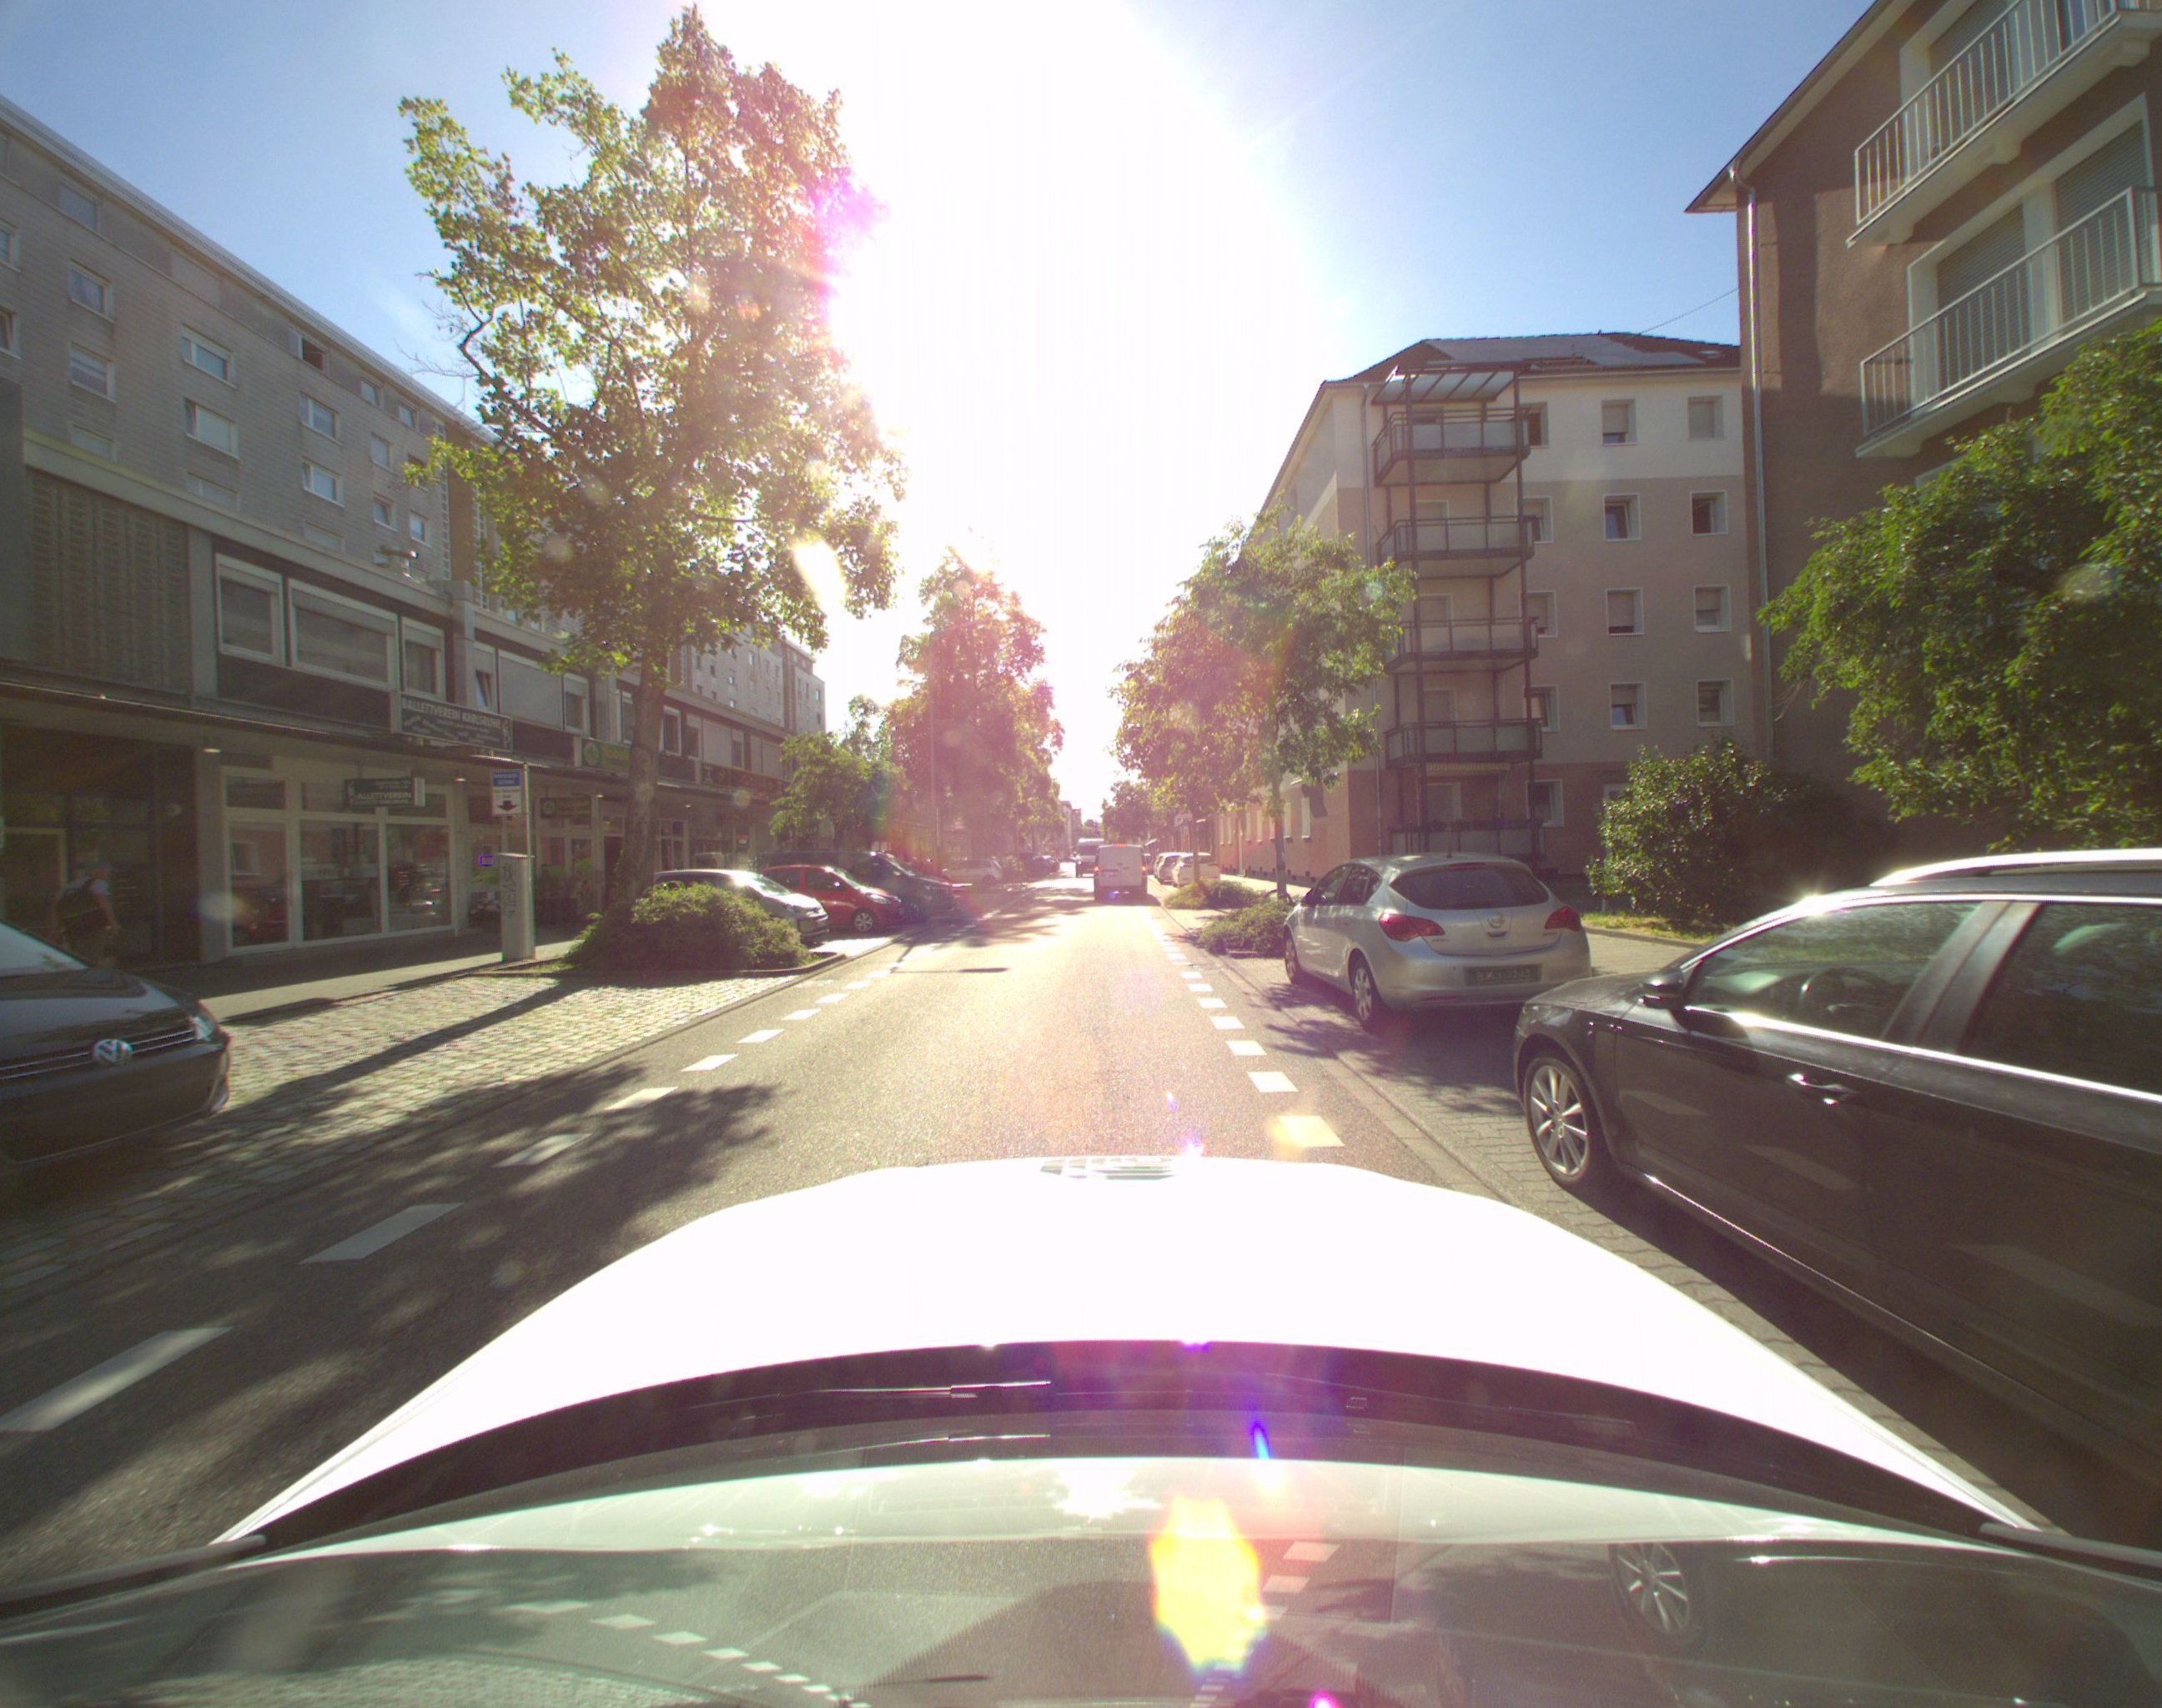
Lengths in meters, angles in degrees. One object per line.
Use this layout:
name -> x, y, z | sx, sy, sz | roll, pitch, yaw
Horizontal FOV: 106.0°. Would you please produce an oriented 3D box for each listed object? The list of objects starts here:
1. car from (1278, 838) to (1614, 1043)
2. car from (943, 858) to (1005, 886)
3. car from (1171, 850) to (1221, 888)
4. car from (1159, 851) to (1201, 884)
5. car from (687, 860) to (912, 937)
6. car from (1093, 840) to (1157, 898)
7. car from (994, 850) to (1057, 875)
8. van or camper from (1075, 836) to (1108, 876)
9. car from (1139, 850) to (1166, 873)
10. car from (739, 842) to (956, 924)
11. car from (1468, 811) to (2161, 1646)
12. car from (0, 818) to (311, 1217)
car -> 3.245, 0.660, 8.143 | 1.733, 1.519, 3.860 | -2, 0, 2
car -> -5.834, 0.975, 44.613 | 3.089, 1.409, 1.661 | -1, 0, 0
car -> 4.889, 0.609, 35.003 | 1.733, 1.519, 3.860 | -2, 0, 2
car -> 4.894, 0.624, 40.647 | 1.733, 1.519, 3.860 | -2, 0, 2
car -> -6.461, 1.000, 19.036 | 4.611, 1.610, 1.661 | -1, 0, 0
car -> 1.551, 0.505, 30.380 | 2.093, 1.907, 5.425 | -2, 0, 1
car -> -4.685, 0.720, 69.476 | 5.195, 1.981, 1.661 | -1, 0, 0
van or camper -> 0.767, 0.136, 54.612 | 1.986, 2.475, 5.822 | -2, 0, 2
car -> 5.092, 0.533, 58.296 | 1.733, 1.519, 3.860 | -2, 0, 2
car -> -6.074, 0.734, 21.587 | 5.195, 1.981, 1.661 | -1, 0, 0
car -> 2.884, 0.664, 2.111 | 1.776, 1.519, 4.311 | -4, 0, 2
car -> -7.199, 0.789, 4.221 | 4.611, 1.804, 1.837 | -1, 0, 0
